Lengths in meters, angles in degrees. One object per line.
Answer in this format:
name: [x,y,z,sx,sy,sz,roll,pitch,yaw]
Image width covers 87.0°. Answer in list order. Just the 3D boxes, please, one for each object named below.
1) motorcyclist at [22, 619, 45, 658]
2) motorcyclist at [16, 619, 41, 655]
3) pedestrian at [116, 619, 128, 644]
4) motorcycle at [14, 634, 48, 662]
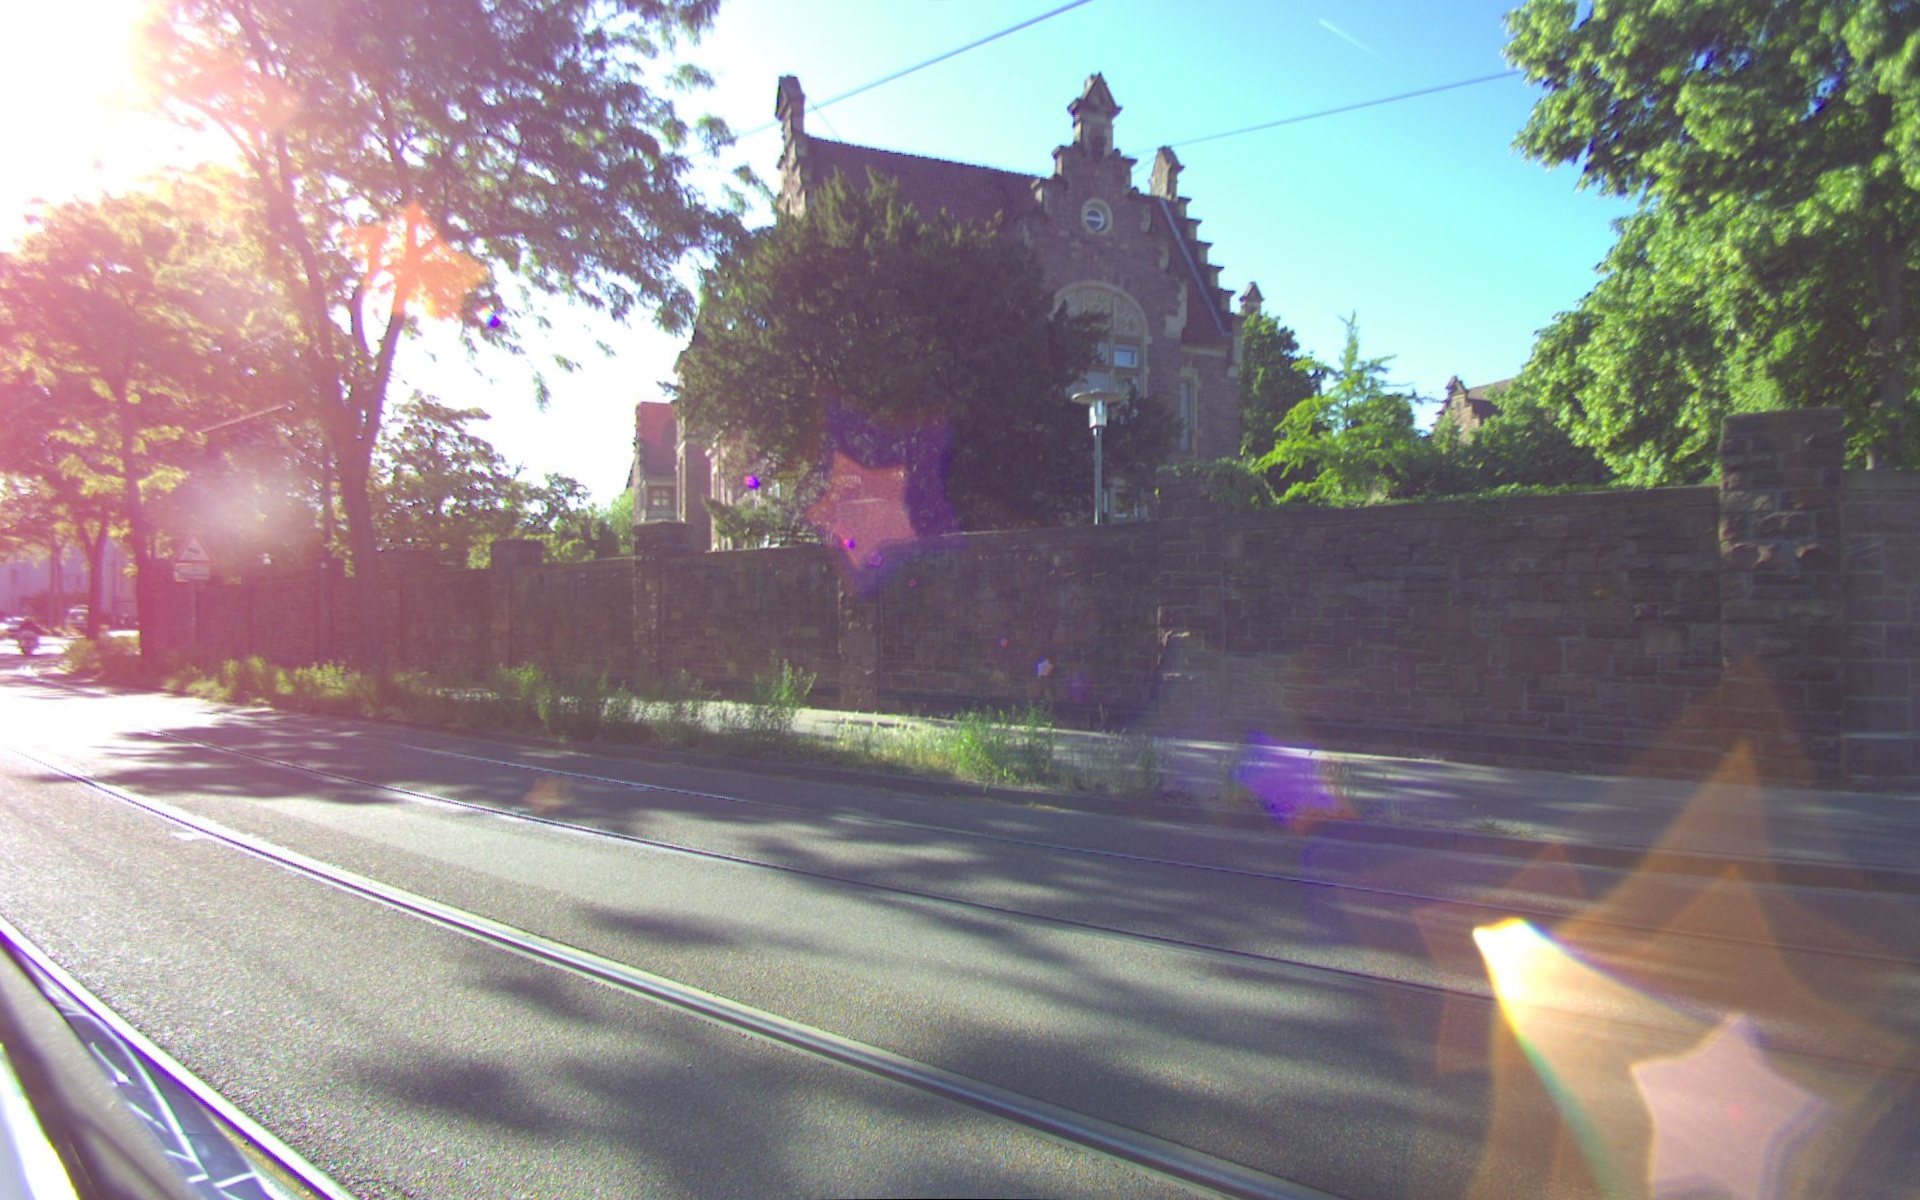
motorcyclist: [-37.553,1.556,41.012,0.464,1.527,0.602,-1,-1,32]
motorcyclist: [-37.998,1.501,41.280,0.445,1.451,0.678,-1,-1,34]
pedestrian: [-80.535,3.036,97.304,0.756,2.385,0.929,-1,0,-33]
motorcycle: [-37.821,1.929,41.187,1.851,1.101,0.604,-1,-1,33]
